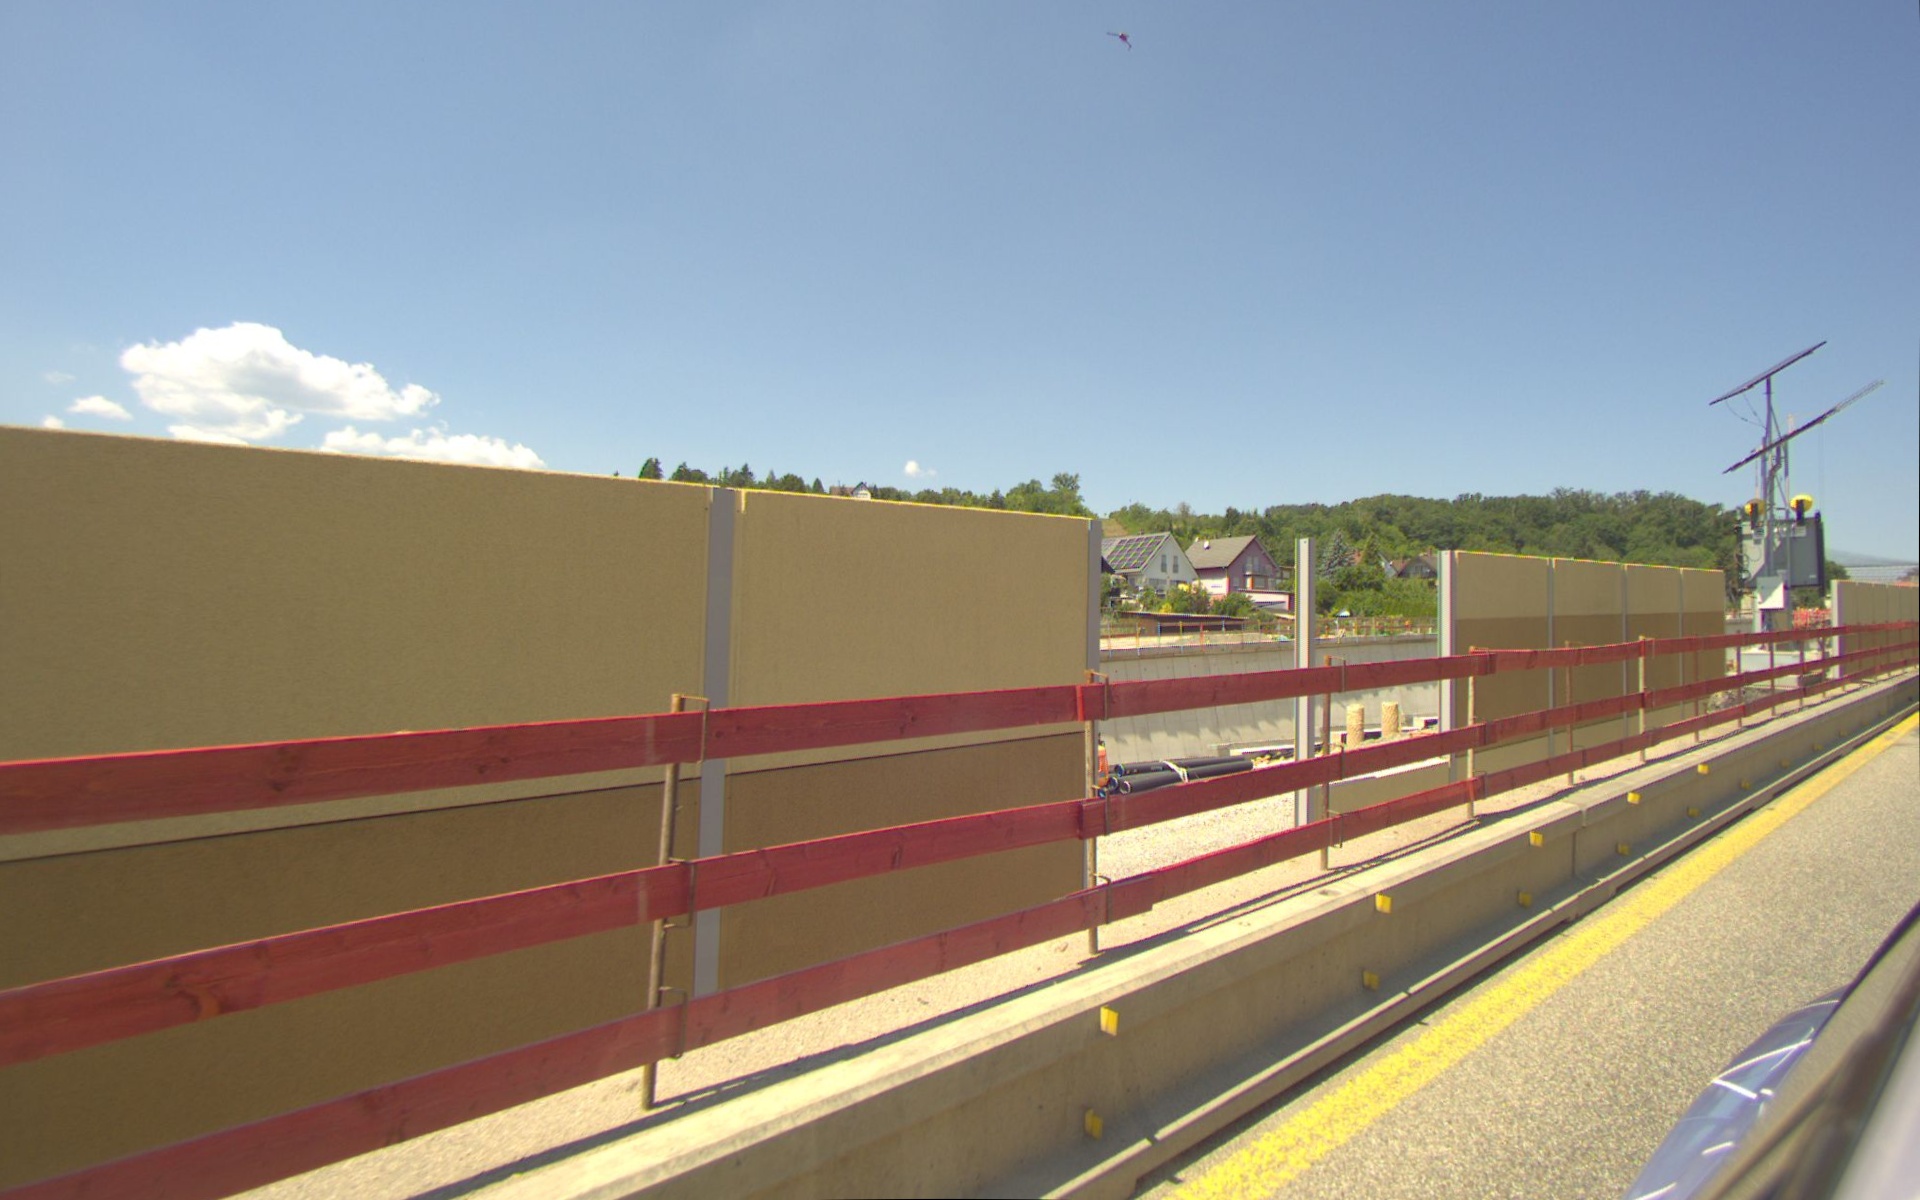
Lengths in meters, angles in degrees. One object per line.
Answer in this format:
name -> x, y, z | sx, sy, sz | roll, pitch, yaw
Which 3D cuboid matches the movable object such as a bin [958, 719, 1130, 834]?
movable object such as a bin -> 2.447, 4.925, 29.052 | 4.376, 2.522, 2.612 | 0, -2, -41
